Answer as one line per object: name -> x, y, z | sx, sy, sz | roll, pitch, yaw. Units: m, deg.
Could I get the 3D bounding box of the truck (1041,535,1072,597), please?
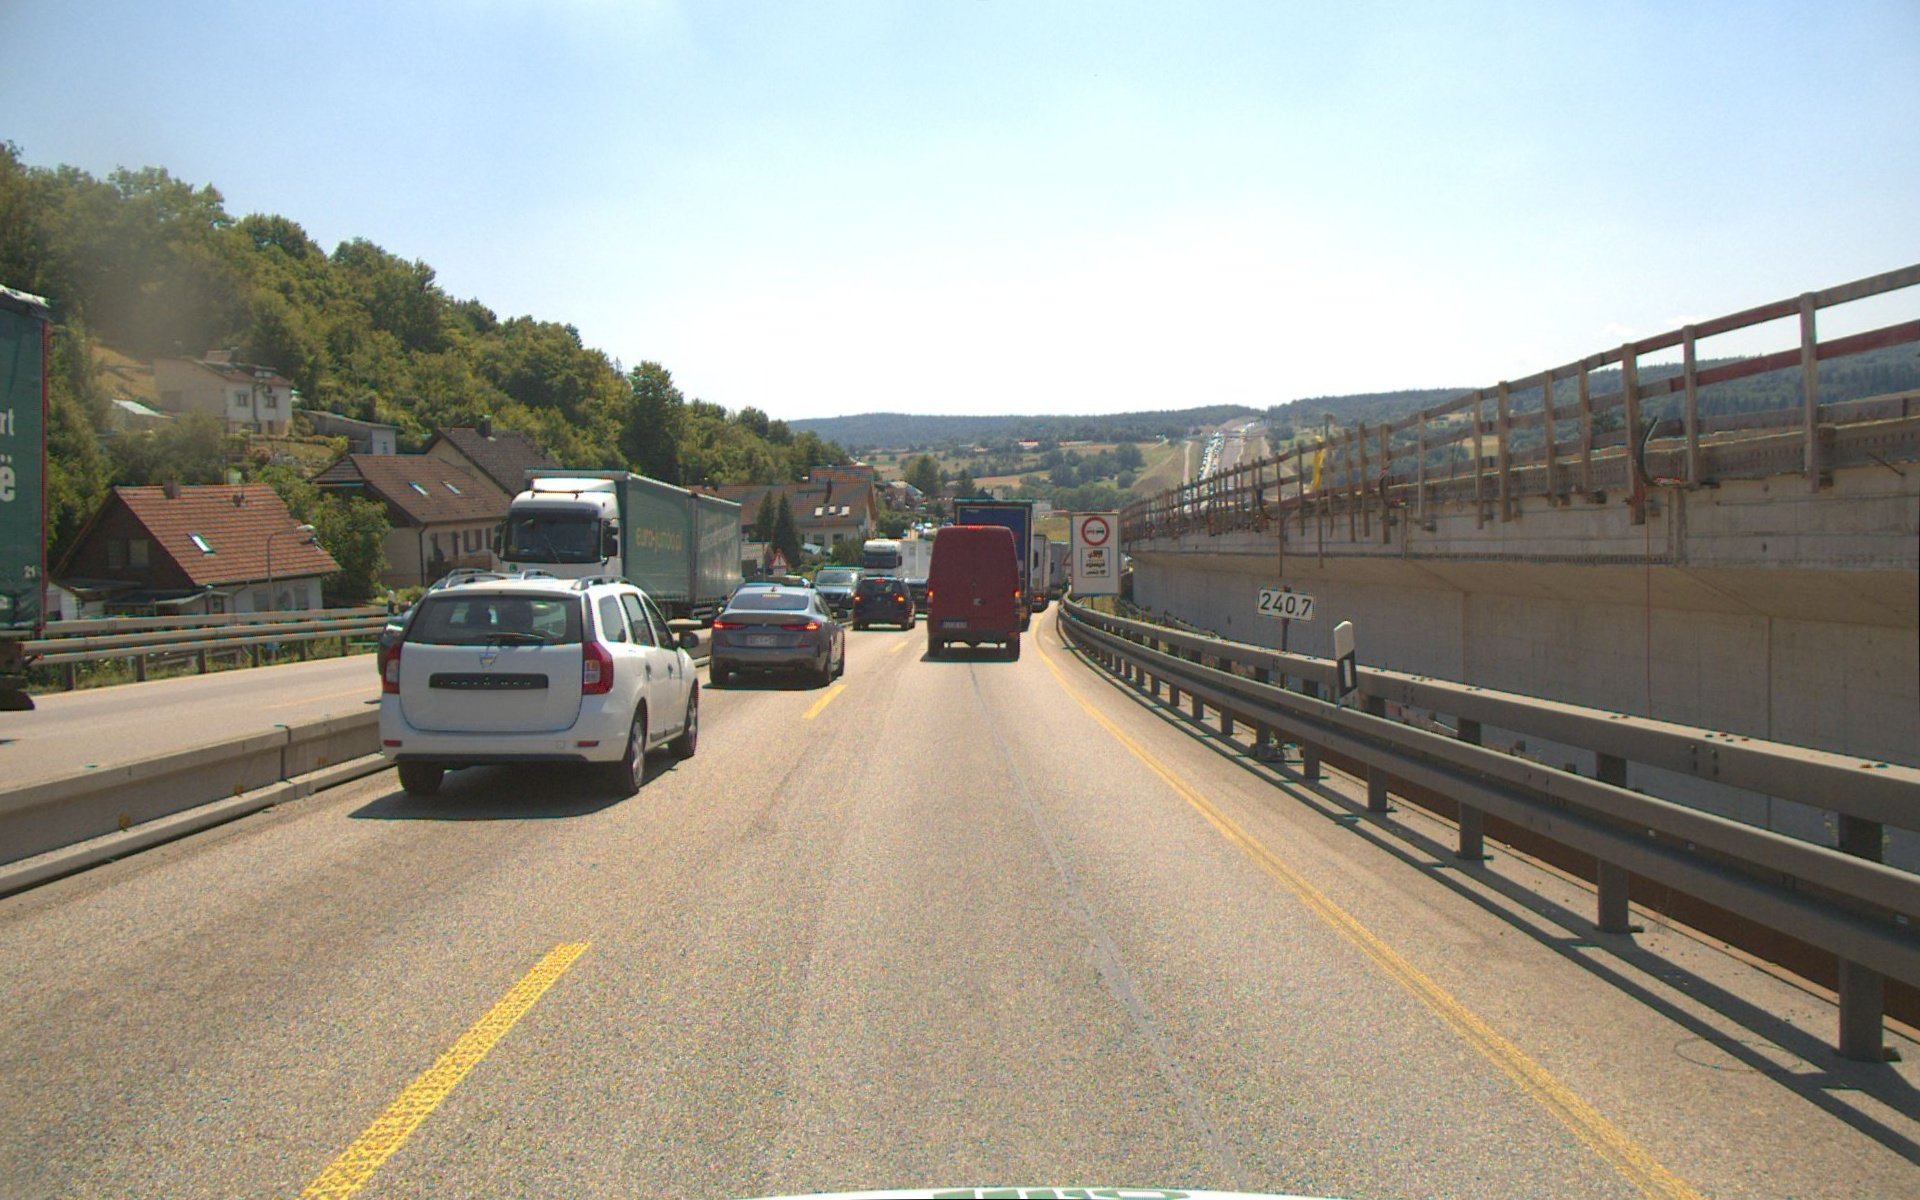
truck -> 7.108, -2.472, 121.601 | 1.951, 4.458, 4.003 | 0, -1, 8

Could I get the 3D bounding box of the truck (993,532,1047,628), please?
truck -> 3.330, -1.009, 89.908 | 2.728, 4.900, 9.688 | 0, 0, 3

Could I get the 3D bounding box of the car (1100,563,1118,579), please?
car -> 20.205, -3.892, 223.975 | 2.086, 2.049, 4.003 | 0, 0, 9

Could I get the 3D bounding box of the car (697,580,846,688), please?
car -> -2.783, 0.467, 25.265 | 1.758, 1.511, 4.050 | 0, 0, 1

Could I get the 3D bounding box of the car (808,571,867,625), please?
car -> -5.151, -0.059, 70.131 | 1.952, 2.211, 4.834 | 0, 0, 2

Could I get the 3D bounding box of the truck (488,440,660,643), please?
truck -> -9.404, -1.321, 40.964 | 2.787, 4.660, 5.788 | 0, 0, 1

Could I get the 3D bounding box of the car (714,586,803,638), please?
car -> -5.954, 0.356, 49.282 | 1.862, 1.488, 4.758 | 0, 0, 2

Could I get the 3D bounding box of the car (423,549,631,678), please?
car -> -6.178, 0.162, 24.080 | 1.917, 1.710, 4.114 | 0, 0, 0

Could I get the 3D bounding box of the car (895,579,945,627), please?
car -> -1.602, 0.126, 67.265 | 1.693, 1.870, 4.001 | 0, 0, 3

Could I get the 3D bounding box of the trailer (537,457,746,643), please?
trailer -> -9.051, -1.229, 49.398 | 2.774, 4.723, 14.585 | 0, 0, 2

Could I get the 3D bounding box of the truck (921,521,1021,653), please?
truck -> 0.289, -0.256, 34.975 | 1.952, 2.624, 4.001 | 0, 0, 3

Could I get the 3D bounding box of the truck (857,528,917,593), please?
truck -> -4.944, -2.682, 114.332 | 2.915, 4.234, 10.551 | 0, 1, 4

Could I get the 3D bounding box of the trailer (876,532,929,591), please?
trailer -> -4.224, -2.825, 124.097 | 2.940, 4.238, 9.022 | 0, 1, 4

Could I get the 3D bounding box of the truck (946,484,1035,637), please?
truck -> 1.192, -1.224, 57.896 | 2.728, 4.900, 9.688 | 0, 0, 3

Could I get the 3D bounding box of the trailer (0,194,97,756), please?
trailer -> -9.831, -1.131, 8.999 | 3.002, 4.900, 13.999 | 0, 0, -1

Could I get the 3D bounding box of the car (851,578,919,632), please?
car -> -2.341, 0.168, 52.665 | 1.772, 1.636, 3.720 | 0, 0, 3

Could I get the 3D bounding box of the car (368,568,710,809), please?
car -> -3.054, 0.579, 12.877 | 1.618, 1.509, 4.265 | -2, 0, -1
